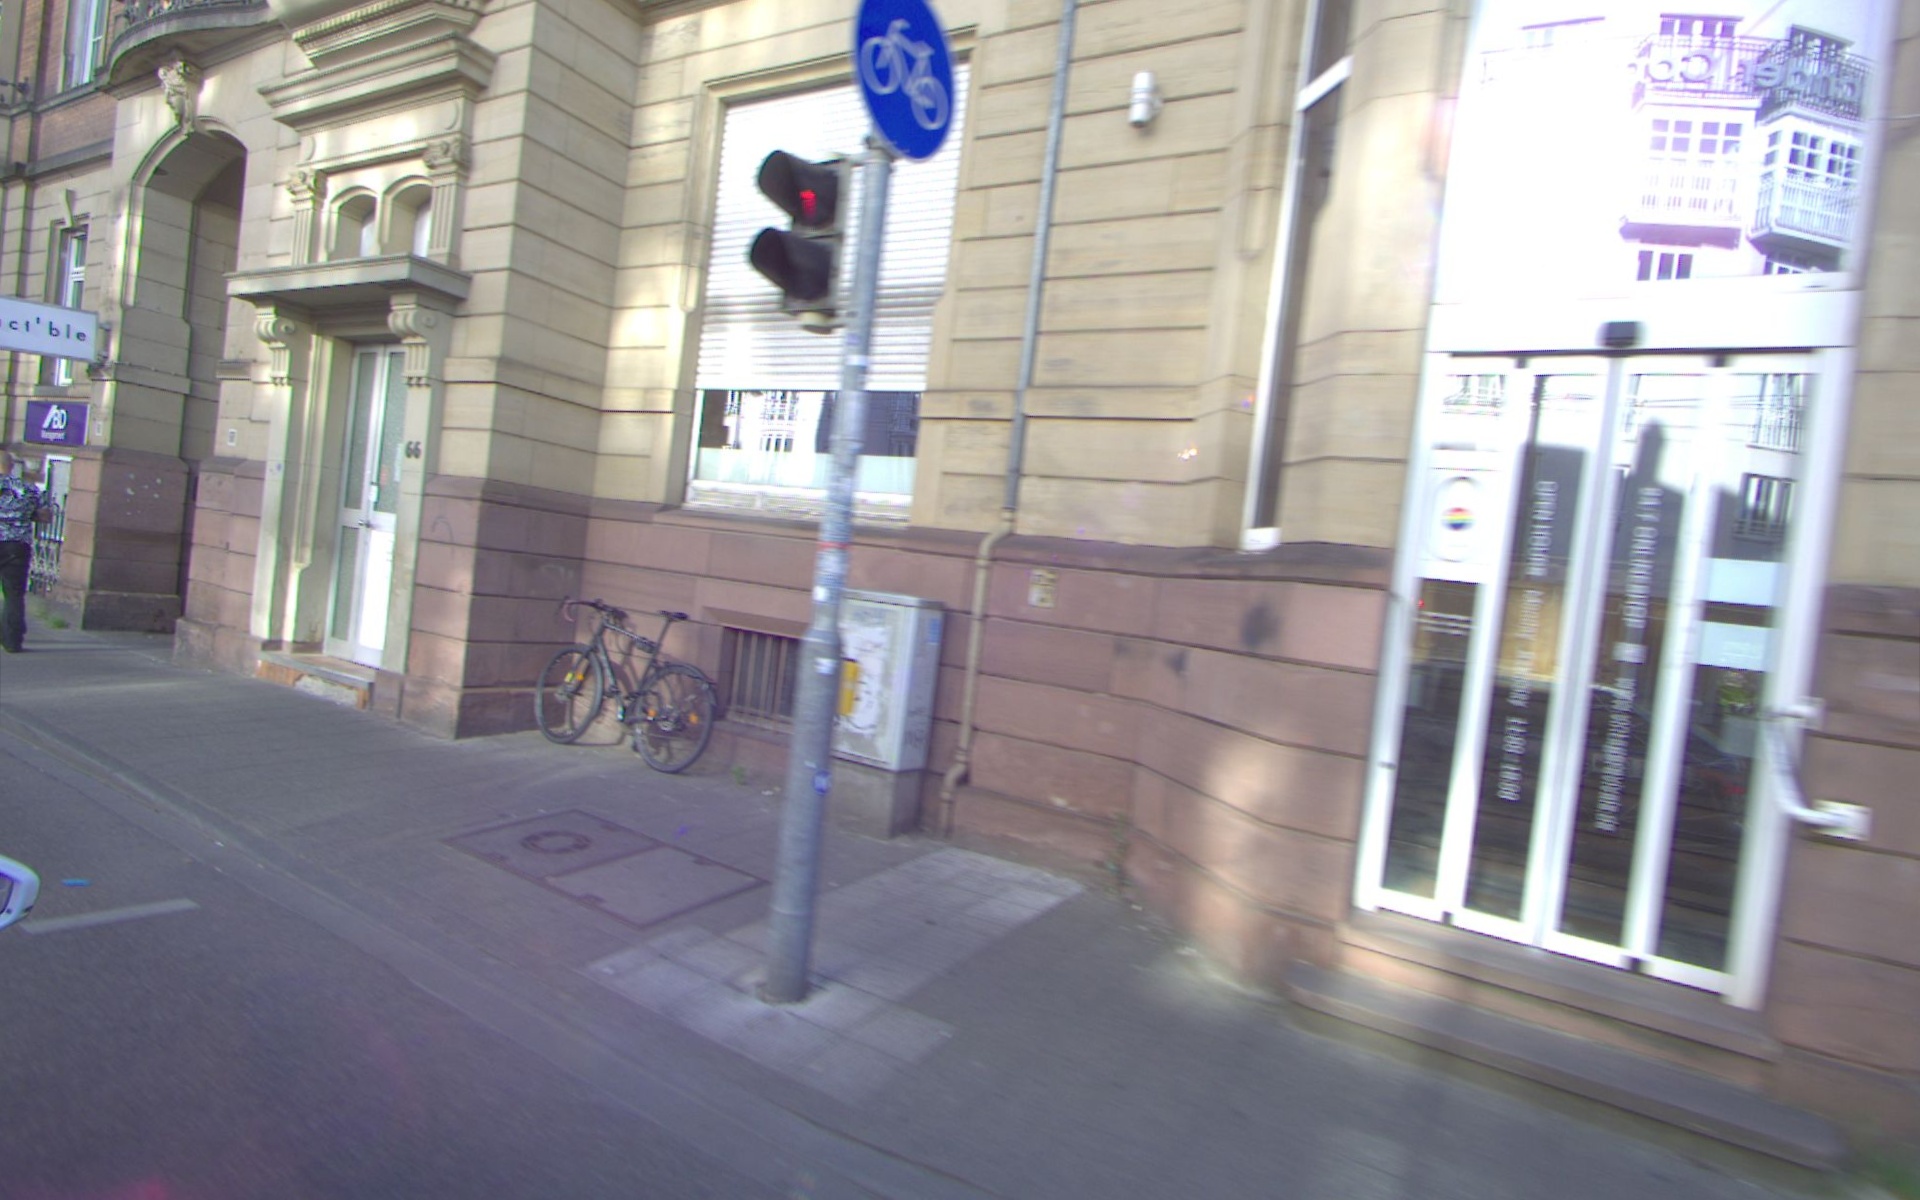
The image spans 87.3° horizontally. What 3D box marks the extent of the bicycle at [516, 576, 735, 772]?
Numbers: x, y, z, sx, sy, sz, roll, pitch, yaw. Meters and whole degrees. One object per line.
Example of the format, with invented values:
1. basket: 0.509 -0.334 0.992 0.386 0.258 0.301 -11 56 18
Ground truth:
1. bicycle: -2.335 0.467 6.908 1.739 1.064 0.256 8 0 32

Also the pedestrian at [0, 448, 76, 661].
1. pedestrian: -8.614 -0.448 8.856 1.074 1.771 0.781 11 2 29
